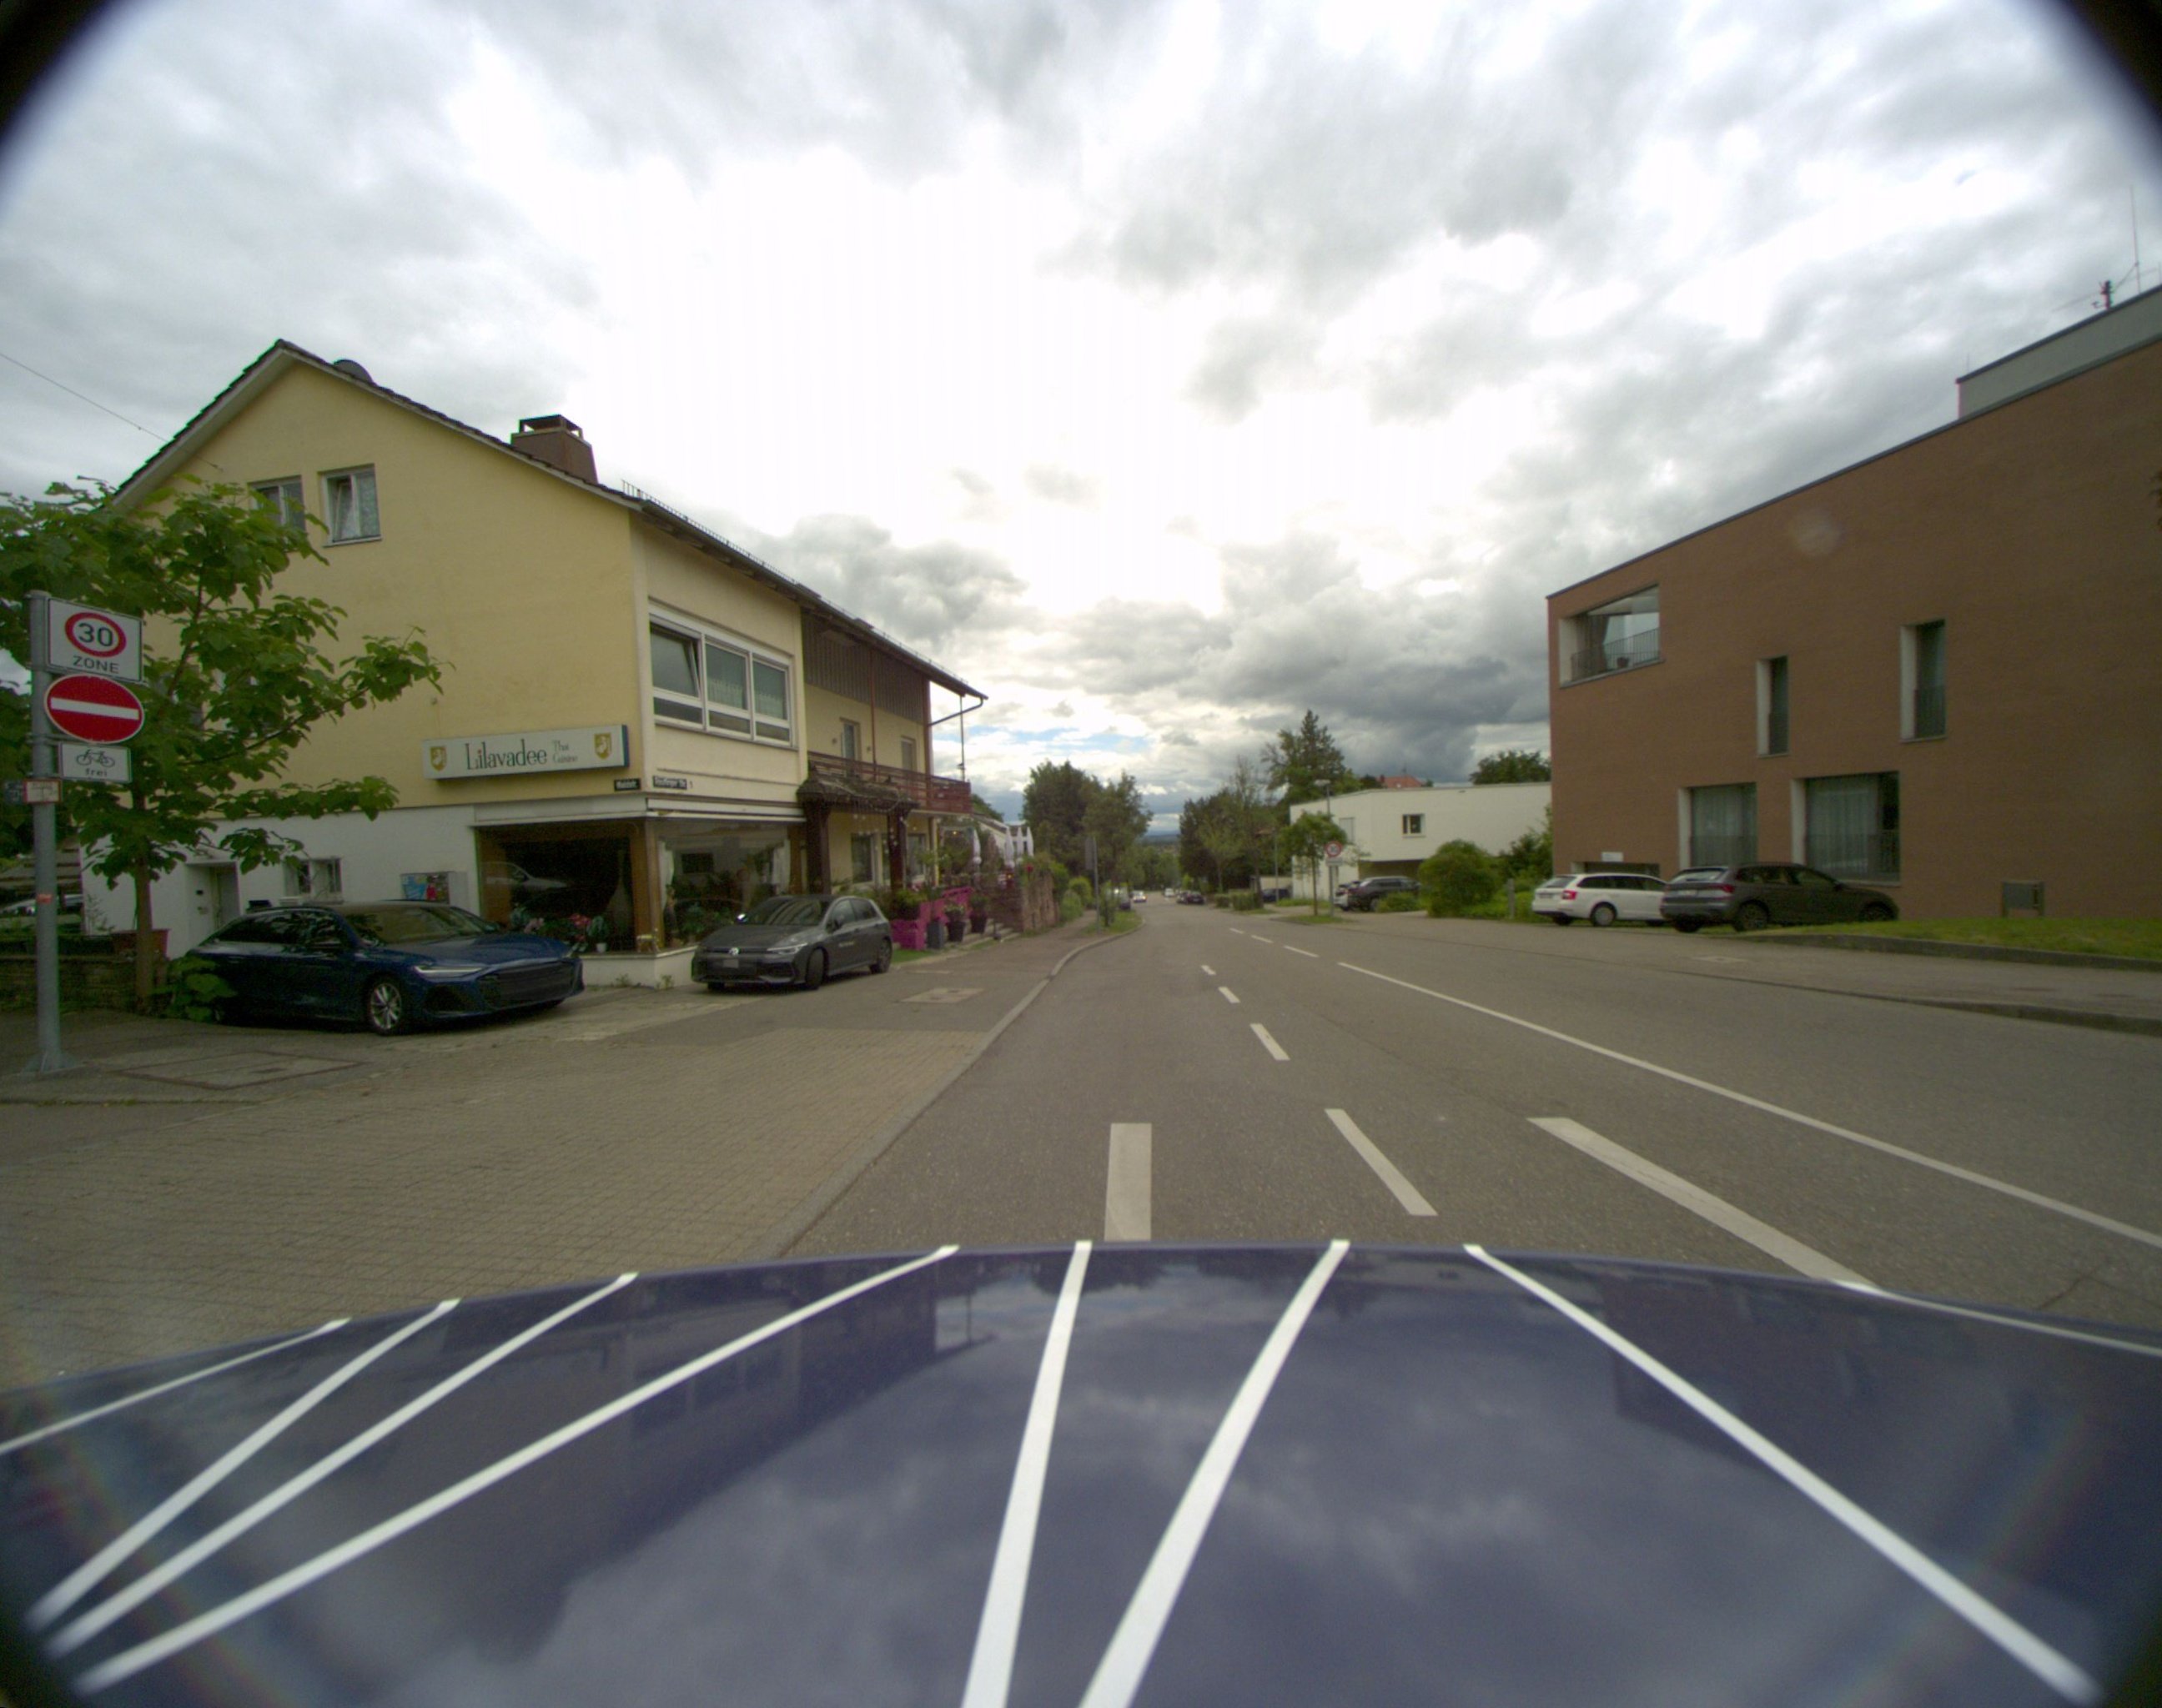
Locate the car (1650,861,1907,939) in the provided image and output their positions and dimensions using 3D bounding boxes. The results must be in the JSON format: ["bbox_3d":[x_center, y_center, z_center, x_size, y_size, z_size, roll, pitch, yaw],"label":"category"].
[{"bbox_3d":[14.910,0.976,16.384,3.998,1.476,1.727,-1,-3,-3],"label":"car"}]

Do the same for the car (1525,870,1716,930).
[{"bbox_3d":[14.615,1.243,20.715,3.998,1.476,1.727,-1,-3,-3],"label":"car"}]

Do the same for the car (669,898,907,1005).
[{"bbox_3d":[-4.545,1.480,12.631,1.796,1.452,4.332,-1,-4,8],"label":"car"}]

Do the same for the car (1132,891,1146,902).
[{"bbox_3d":[8.234,5.989,107.877,1.724,1.476,4.005,-2,-3,8],"label":"car"}]

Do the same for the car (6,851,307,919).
[{"bbox_3d":[-22.503,0.819,18.771,1.795,1.452,4.336,-2,-4,22],"label":"car"}]

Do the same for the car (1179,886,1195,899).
[{"bbox_3d":[12.504,4.555,89.578,1.661,1.412,4.372,-2,-3,6],"label":"car"}]

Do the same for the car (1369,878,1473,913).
[{"bbox_3d":[15.602,1.897,35.038,3.996,1.476,1.728,-2,-3,3],"label":"car"}]

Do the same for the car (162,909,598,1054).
[{"bbox_3d":[-8.531,1.419,9.294,4.739,1.378,1.802,-2,-1,18],"label":"car"}]

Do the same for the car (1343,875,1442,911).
[{"bbox_3d":[15.056,1.895,36.879,3.996,1.585,1.795,-2,-3,3],"label":"car"}]

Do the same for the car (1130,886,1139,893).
[{"bbox_3d":[12.907,8.583,183.875,1.883,1.412,4.369,-1,-1,1],"label":"car"}]

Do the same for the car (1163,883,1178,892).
[{"bbox_3d":[16.218,6.070,137.975,1.884,1.412,4.368,-1,-1,-2],"label":"car"}]

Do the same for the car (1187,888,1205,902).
[{"bbox_3d":[12.187,4.300,80.581,1.661,1.412,4.004,-2,-3,6],"label":"car"}]

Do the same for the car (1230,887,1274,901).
[{"bbox_3d":[16.552,3.885,73.731,3.995,1.278,1.665,-2,-3,7],"label":"car"}]
